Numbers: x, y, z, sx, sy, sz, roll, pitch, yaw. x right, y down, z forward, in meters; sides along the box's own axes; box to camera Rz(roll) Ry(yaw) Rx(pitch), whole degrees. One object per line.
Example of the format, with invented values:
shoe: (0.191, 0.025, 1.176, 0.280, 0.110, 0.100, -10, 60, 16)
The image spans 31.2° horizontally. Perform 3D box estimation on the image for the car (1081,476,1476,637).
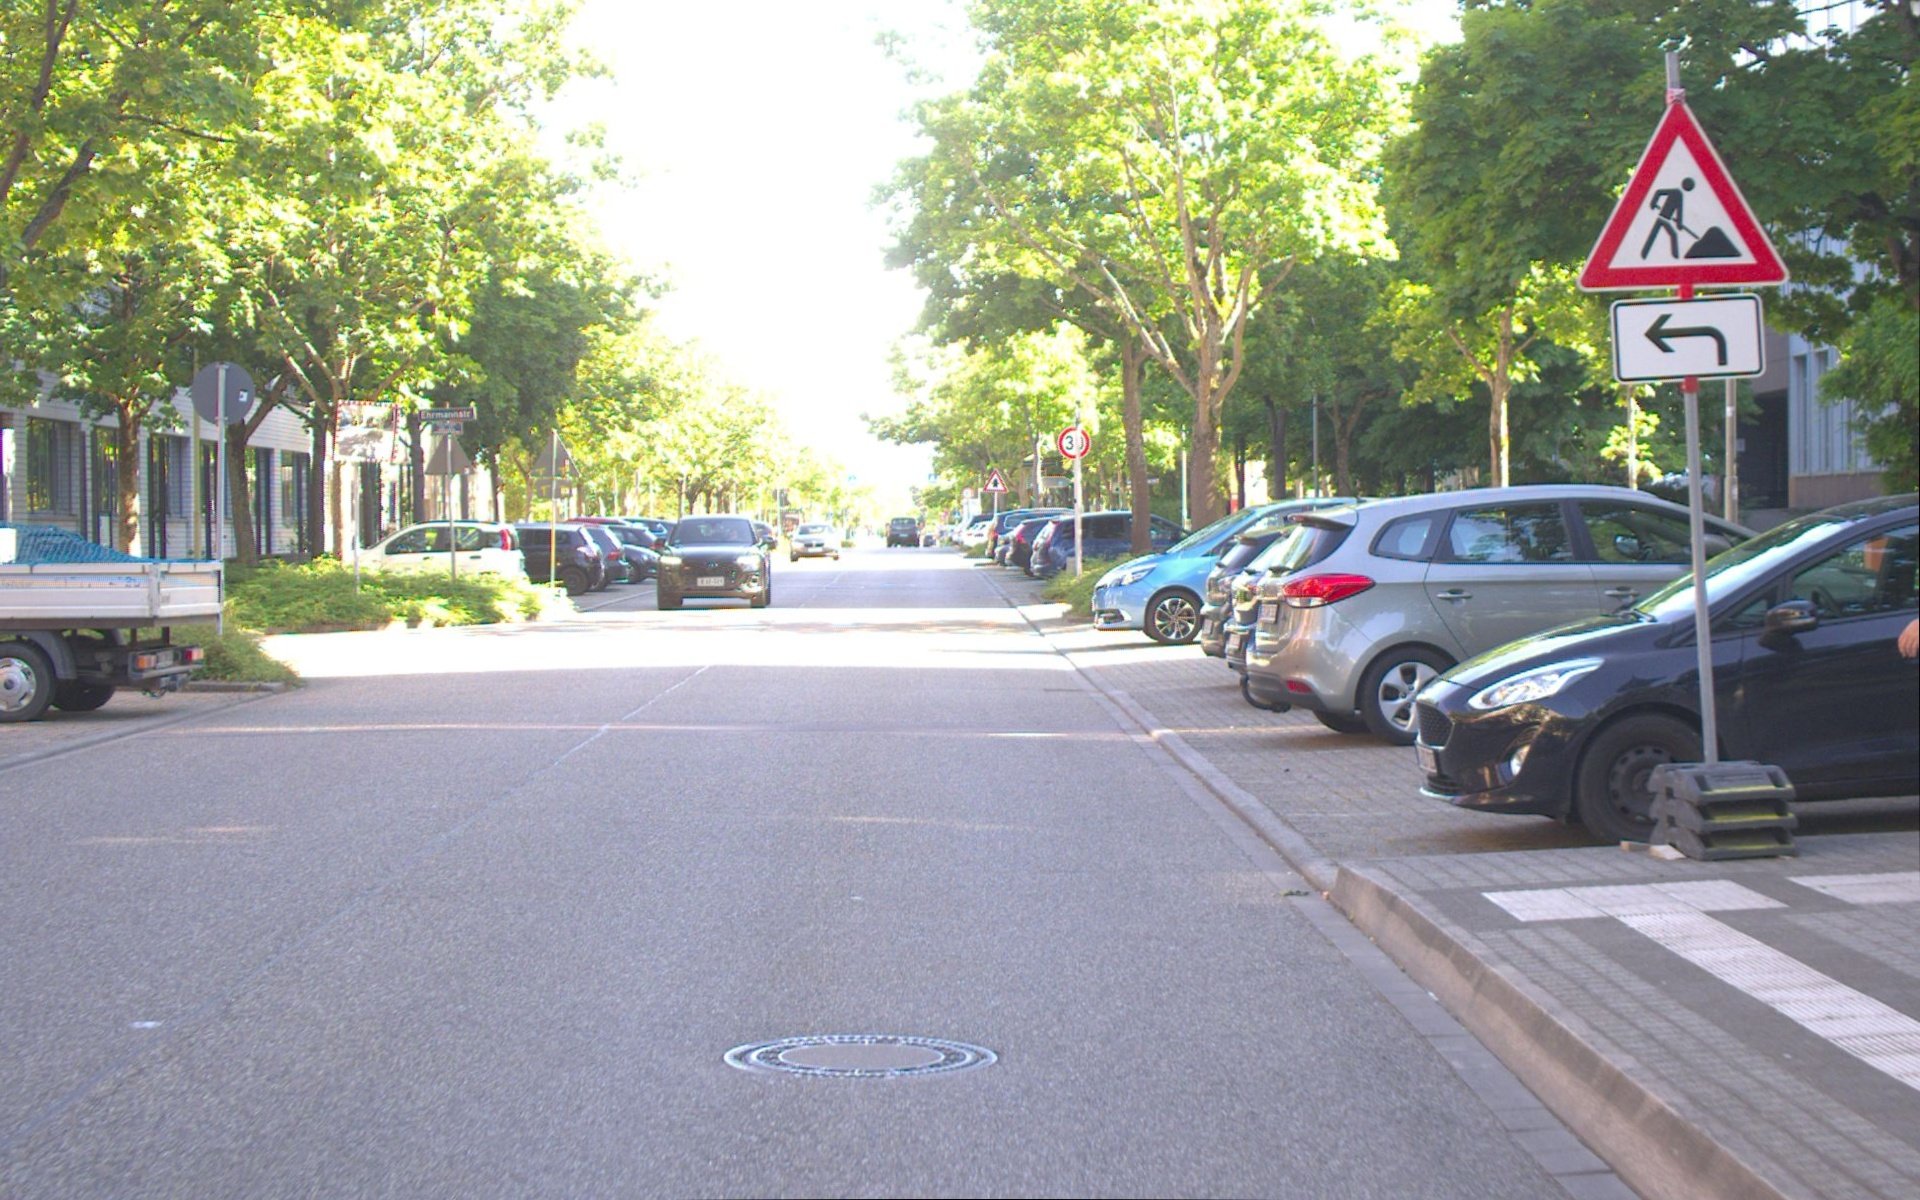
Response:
car: (3.739, -0.534, 40.914, 4.405, 1.612, 1.912, -3, 2, -1)

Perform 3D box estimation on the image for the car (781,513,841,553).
car: (-5.408, -2.467, 125.381, 1.813, 1.410, 4.107, 0, 2, 3)

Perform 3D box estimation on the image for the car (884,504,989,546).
car: (-0.942, -2.946, 135.609, 3.986, 1.619, 2.000, -1, 1, -5)

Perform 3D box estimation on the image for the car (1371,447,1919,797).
car: (3.931, 0.058, 15.260, 3.934, 1.434, 1.775, -1, 1, -2)

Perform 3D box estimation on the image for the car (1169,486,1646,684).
car: (3.864, -0.160, 30.131, 3.846, 1.478, 1.825, -3, 2, -1)

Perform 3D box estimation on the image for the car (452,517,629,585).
car: (-9.235, -1.088, 75.917, 3.732, 1.459, 1.677, 0, 1, -1)

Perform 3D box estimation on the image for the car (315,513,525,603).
car: (-9.704, -0.746, 61.951, 3.580, 1.544, 1.637, 0, -1, -3)

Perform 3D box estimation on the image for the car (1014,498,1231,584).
car: (3.323, -1.225, 70.972, 4.267, 1.628, 1.858, -1, 1, -3)

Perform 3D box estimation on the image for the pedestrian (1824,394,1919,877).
pedestrian: (3.752, 0.093, 12.411, 0.917, 1.705, 0.698, -4, 2, -14)

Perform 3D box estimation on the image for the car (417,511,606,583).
car: (-9.319, -1.110, 71.645, 3.732, 1.459, 1.677, 0, 1, -1)

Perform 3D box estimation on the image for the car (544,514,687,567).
car: (-9.726, -1.679, 97.255, 3.892, 1.459, 1.858, 0, 1, -1)

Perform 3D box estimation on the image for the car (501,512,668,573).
car: (-9.149, -1.415, 83.966, 3.892, 1.459, 1.858, 0, 1, -1)

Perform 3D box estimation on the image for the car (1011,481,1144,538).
car: (3.499, -2.692, 102.675, 3.892, 1.650, 1.858, 0, 1, -1)

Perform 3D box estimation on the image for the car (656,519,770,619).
car: (-4.344, -0.576, 61.033, 1.891, 1.678, 4.353, -1, 1, -3)

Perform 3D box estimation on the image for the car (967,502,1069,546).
car: (2.395, -3.163, 142.359, 3.986, 1.786, 2.000, -1, 1, -5)

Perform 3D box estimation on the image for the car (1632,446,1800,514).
car: (20.777, -3.293, 94.530, 4.071, 1.777, 2.000, 1, 1, -4)

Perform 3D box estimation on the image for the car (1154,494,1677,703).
car: (3.591, -0.044, 27.481, 3.799, 1.403, 1.702, -3, 2, -6)

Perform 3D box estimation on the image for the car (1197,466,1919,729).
car: (3.878, -0.048, 22.483, 4.351, 1.592, 1.940, -1, 1, -7)

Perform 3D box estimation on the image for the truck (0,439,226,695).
truck: (-8.636, -0.259, 27.570, 4.985, 1.952, 2.138, -1, 1, 1)

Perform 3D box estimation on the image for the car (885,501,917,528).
car: (-3.560, -5.175, 207.691, 1.933, 1.592, 4.367, -1, 2, -1)
